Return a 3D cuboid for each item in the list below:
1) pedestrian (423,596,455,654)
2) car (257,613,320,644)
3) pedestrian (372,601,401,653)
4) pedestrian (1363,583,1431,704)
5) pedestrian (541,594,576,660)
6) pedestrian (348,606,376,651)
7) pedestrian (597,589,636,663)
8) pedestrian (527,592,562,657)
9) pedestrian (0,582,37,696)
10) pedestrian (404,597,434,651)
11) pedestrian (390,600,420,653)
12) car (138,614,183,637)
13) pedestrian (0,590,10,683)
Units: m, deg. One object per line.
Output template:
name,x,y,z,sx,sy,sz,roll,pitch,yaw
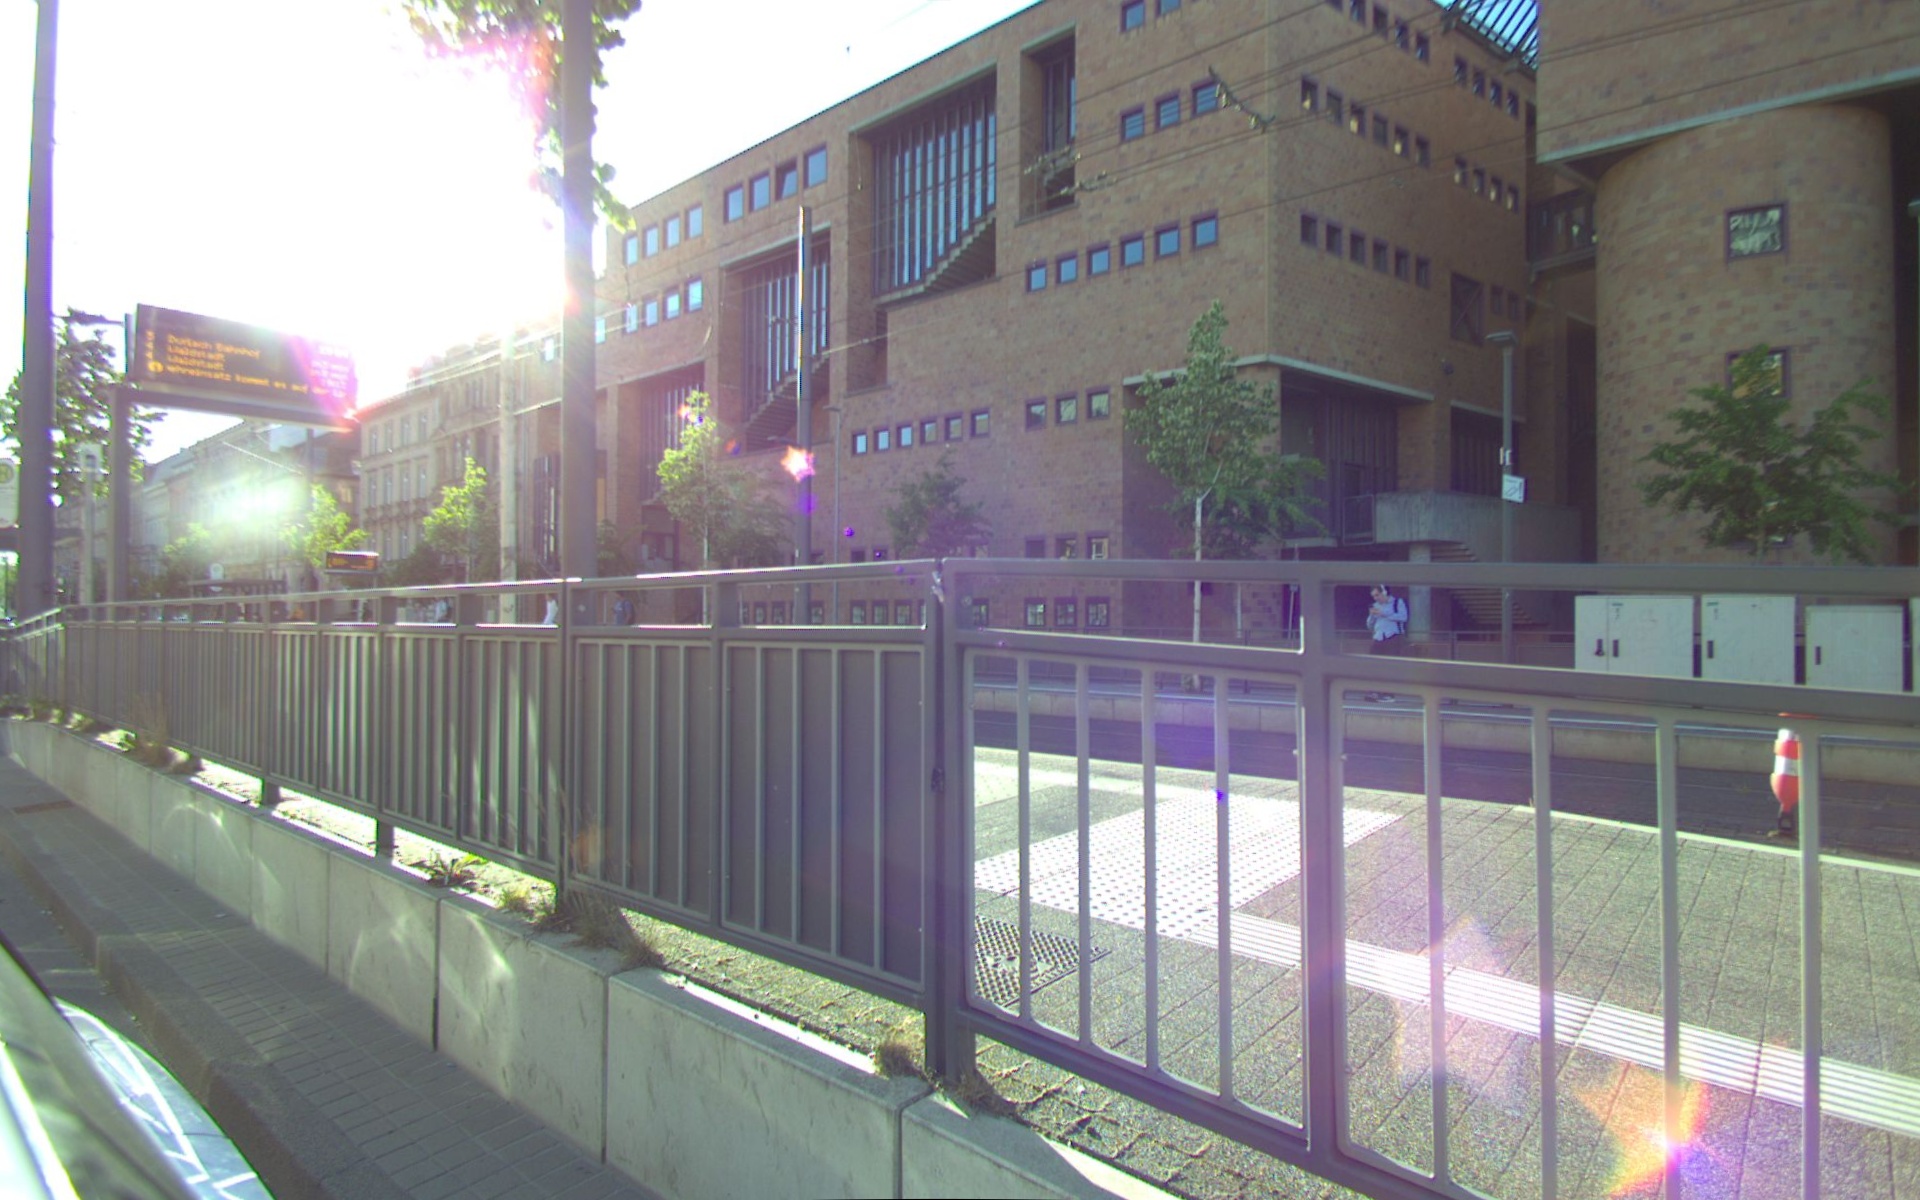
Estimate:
pedestrian,-16.102,0.780,31.259,0.586,1.755,0.684,-2,-2,38
car,-33.454,1.434,50.389,3.702,1.497,1.681,-2,-2,41
pedestrian,-19.825,0.927,35.002,0.586,1.755,0.684,-2,-2,38
pedestrian,5.780,0.562,13.383,0.653,1.546,0.693,-1,-2,38
pedestrian,-10.854,0.740,27.370,0.586,1.755,0.684,-2,-2,38
pedestrian,-21.710,1.032,36.738,0.586,1.587,0.684,-2,-2,38
pedestrian,-8.321,0.623,24.521,0.586,1.755,0.684,-2,-2,38
pedestrian,-11.437,0.663,27.844,0.586,1.755,0.684,-2,-2,38
pedestrian,-17.439,0.711,18.500,0.772,2.029,0.881,1,-2,-41
pedestrian,-17.849,0.803,33.405,0.586,1.755,0.684,-2,-2,38
pedestrian,-18.774,0.899,34.230,0.586,1.755,0.684,-2,-2,38
car,-52.051,1.669,65.868,3.702,1.497,1.681,-2,-2,41
pedestrian,-21.505,0.801,22.250,0.880,2.029,0.774,-2,-2,41
